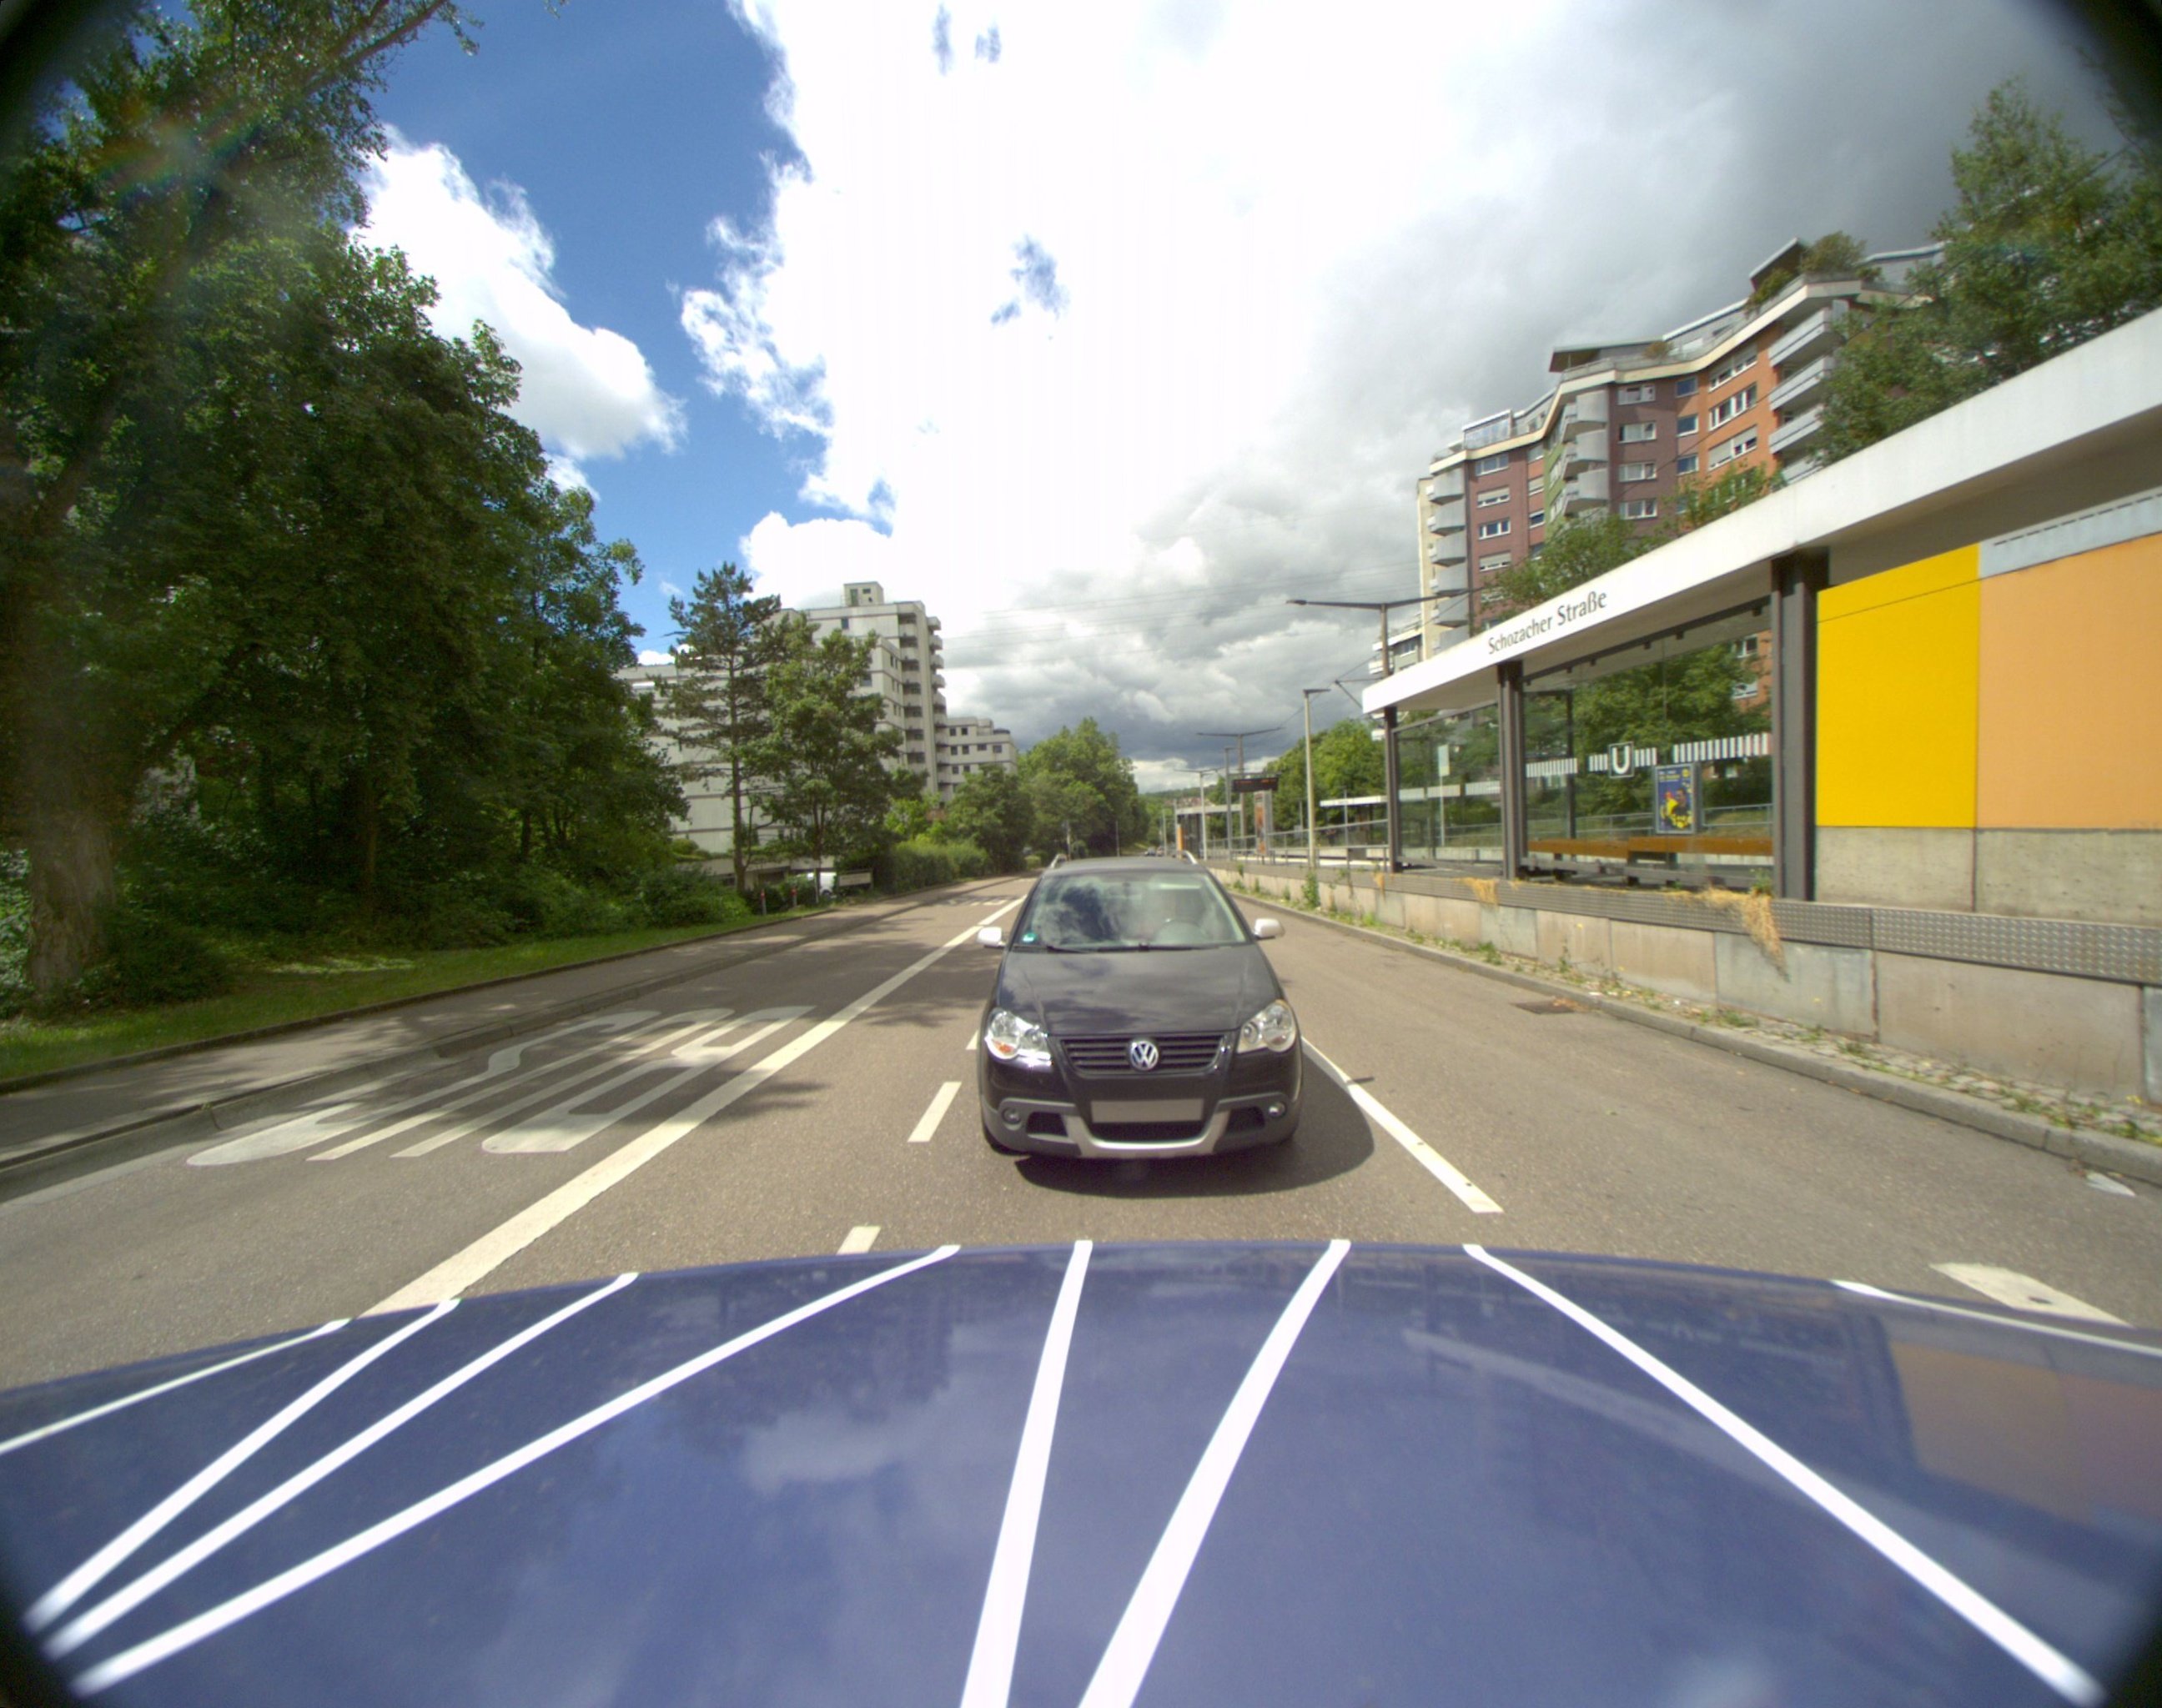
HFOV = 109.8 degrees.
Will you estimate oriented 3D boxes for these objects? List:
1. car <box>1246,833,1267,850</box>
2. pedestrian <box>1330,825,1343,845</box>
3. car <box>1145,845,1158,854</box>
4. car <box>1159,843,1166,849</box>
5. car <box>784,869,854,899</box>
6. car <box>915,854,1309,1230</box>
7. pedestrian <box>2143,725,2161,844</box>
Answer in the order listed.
[{"bbox_3d":[22.153,-1.594,96.144,1.737,2.002,4.000,-2,1,2],"label":"car"},{"bbox_3d":[16.789,-1.235,49.887,0.563,1.270,0.535,-3,2,-43],"label":"pedestrian"},{"bbox_3d":[11.648,-0.802,126.083,1.821,1.377,4.065,-2,1,2],"label":"car"},{"bbox_3d":[23.299,-2.288,217.183,1.643,1.395,3.708,-2,1,4],"label":"car"},{"bbox_3d":[-19.892,2.235,57.800,4.543,2.002,2.001,-2,1,7],"label":"car"},{"bbox_3d":[0.222,0.826,5.279,1.641,1.521,4.000,-2,1,3],"label":"car"},{"bbox_3d":[15.794,-1.008,11.028,0.352,1.703,0.428,-1,2,41],"label":"pedestrian"}]
